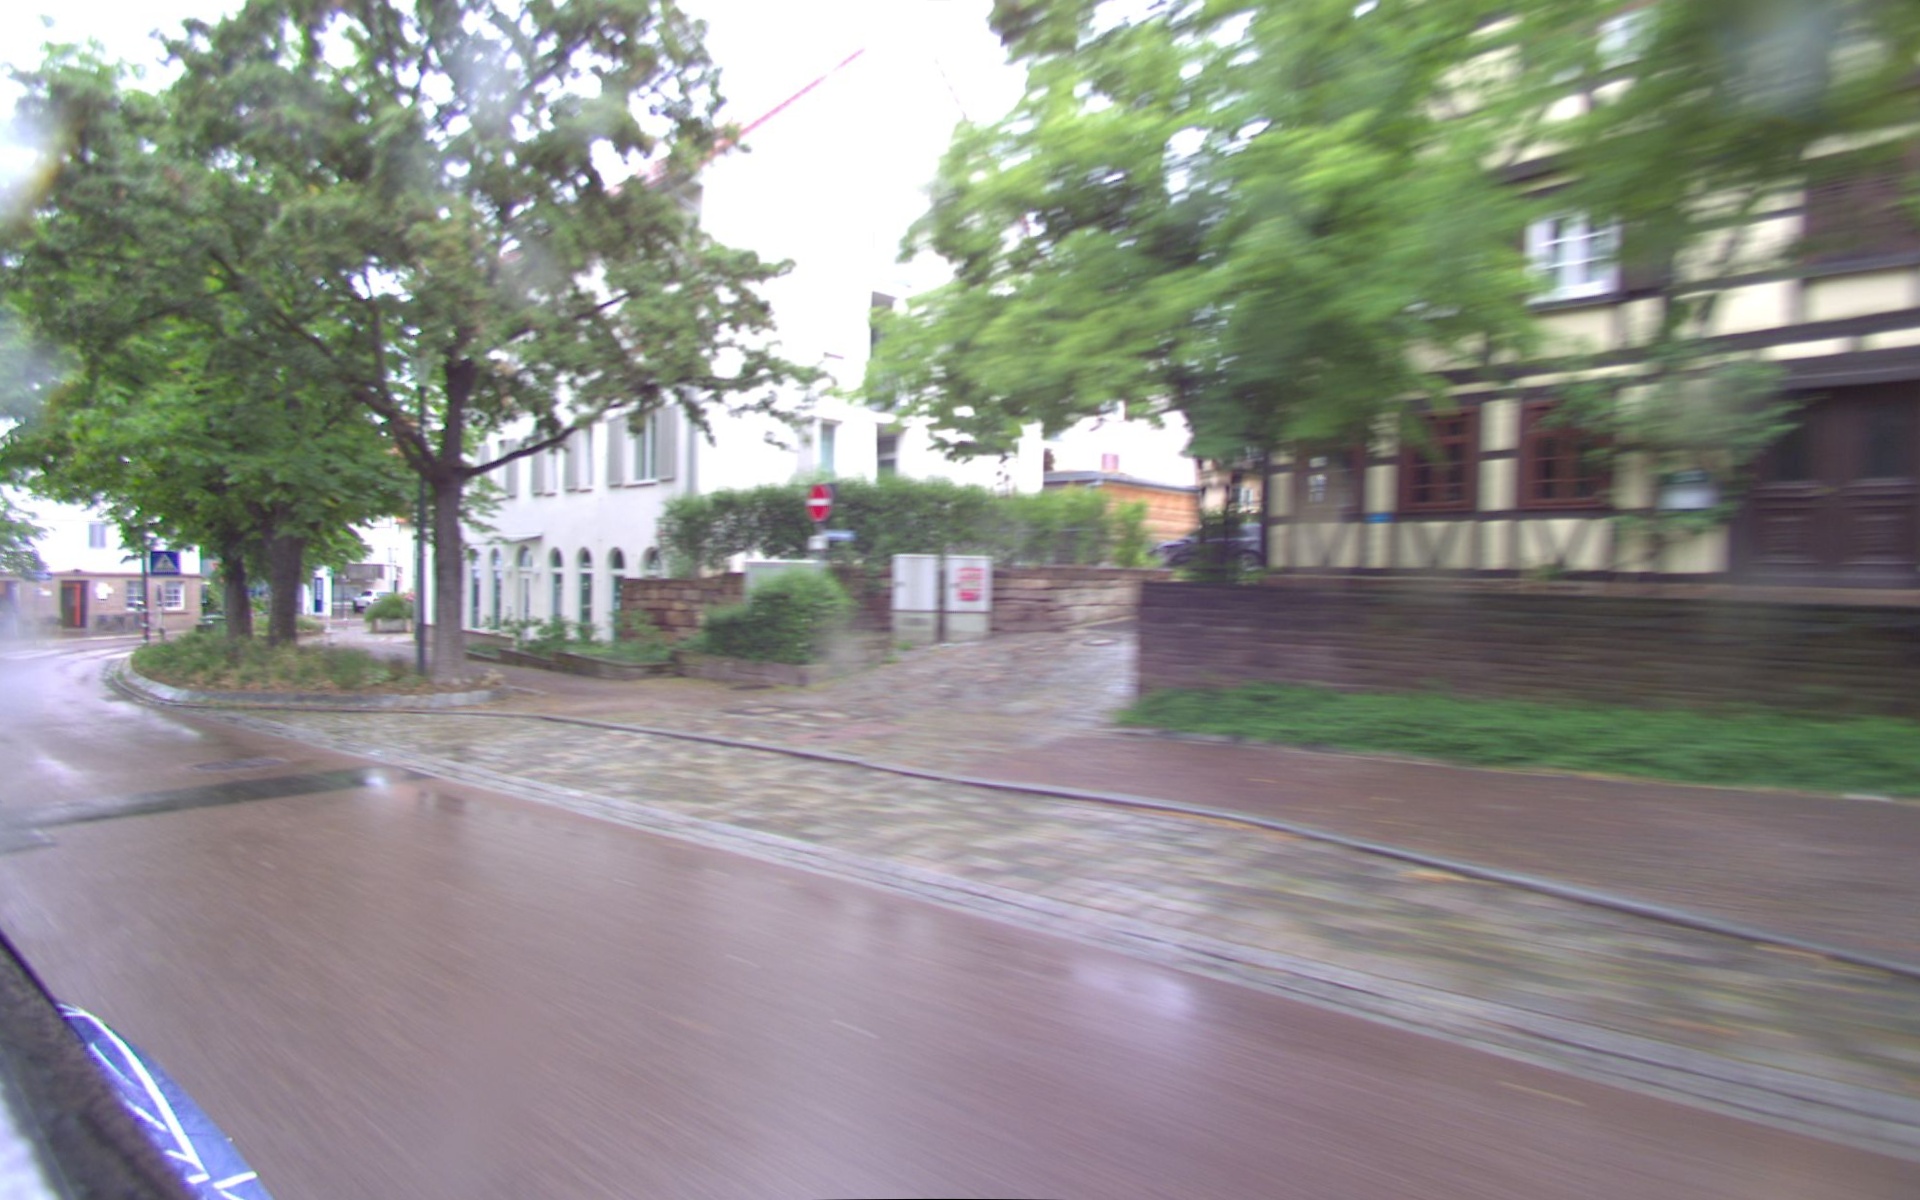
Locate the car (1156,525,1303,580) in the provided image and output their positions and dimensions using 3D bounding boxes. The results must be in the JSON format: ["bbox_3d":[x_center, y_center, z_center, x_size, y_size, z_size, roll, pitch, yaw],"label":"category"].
[{"bbox_3d":[7.427,-1.304,27.922,3.629,1.353,1.600,1,6,32],"label":"car"}]

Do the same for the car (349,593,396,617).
[{"bbox_3d":[-40.916,0.353,70.492,3.890,1.634,1.804,1,-1,44],"label":"car"}]

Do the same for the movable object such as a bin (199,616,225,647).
[{"bbox_3d":[-26.505,1.125,35.863,0.625,1.067,0.700,1,-1,-29],"label":"movable object such as a bin"}]
